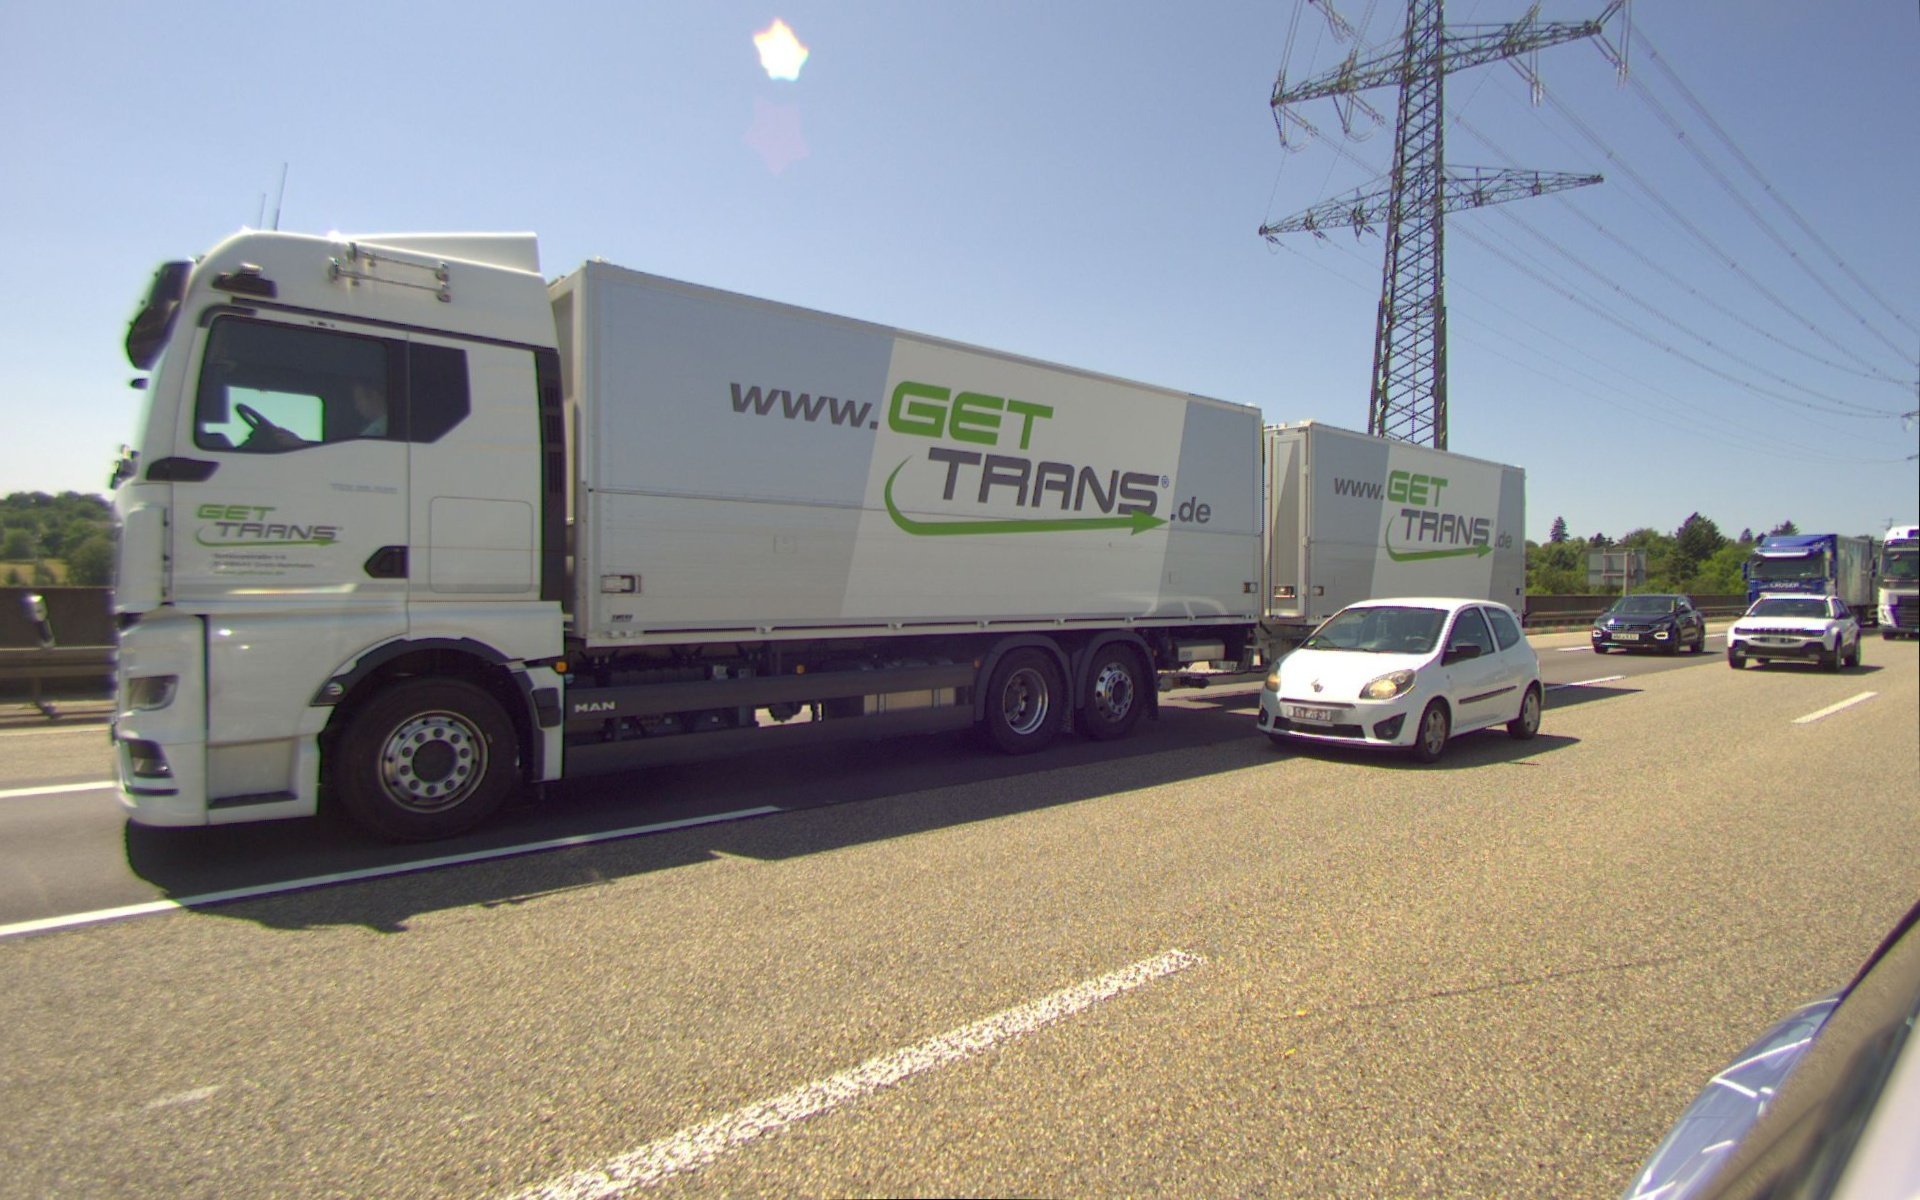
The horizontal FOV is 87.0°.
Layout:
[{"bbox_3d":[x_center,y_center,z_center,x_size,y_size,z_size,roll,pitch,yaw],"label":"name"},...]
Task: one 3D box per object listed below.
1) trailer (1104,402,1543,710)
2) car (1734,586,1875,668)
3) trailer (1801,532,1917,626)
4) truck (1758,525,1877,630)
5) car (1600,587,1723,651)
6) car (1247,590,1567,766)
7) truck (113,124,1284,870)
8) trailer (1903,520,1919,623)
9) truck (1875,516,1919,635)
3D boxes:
[{"bbox_3d":[6.007,-0.540,15.756,8.147,3.640,2.849,0,0,-41],"label":"trailer"},{"bbox_3d":[17.681,0.504,21.140,3.688,1.554,1.720,0,1,-41],"label":"car"},{"bbox_3d":[42.649,-0.996,47.853,10.692,4.044,2.542,-1,0,-40],"label":"trailer"},{"bbox_3d":[35.578,-0.872,41.888,7.786,4.018,2.516,0,0,-40],"label":"truck"},{"bbox_3d":[18.150,0.441,26.143,3.820,1.524,1.708,0,1,-41],"label":"car"},{"bbox_3d":[4.605,0.638,10.226,3.566,1.458,1.583,0,1,-41],"label":"car"},{"bbox_3d":[-1.051,-0.518,9.541,10.582,3.648,2.855,0,0,-42],"label":"truck"},{"bbox_3d":[40.787,-1.144,40.937,9.605,3.918,2.895,-1,1,-41],"label":"trailer"},{"bbox_3d":[34.672,-0.857,35.611,6.624,3.941,2.911,-1,0,-41],"label":"truck"}]
